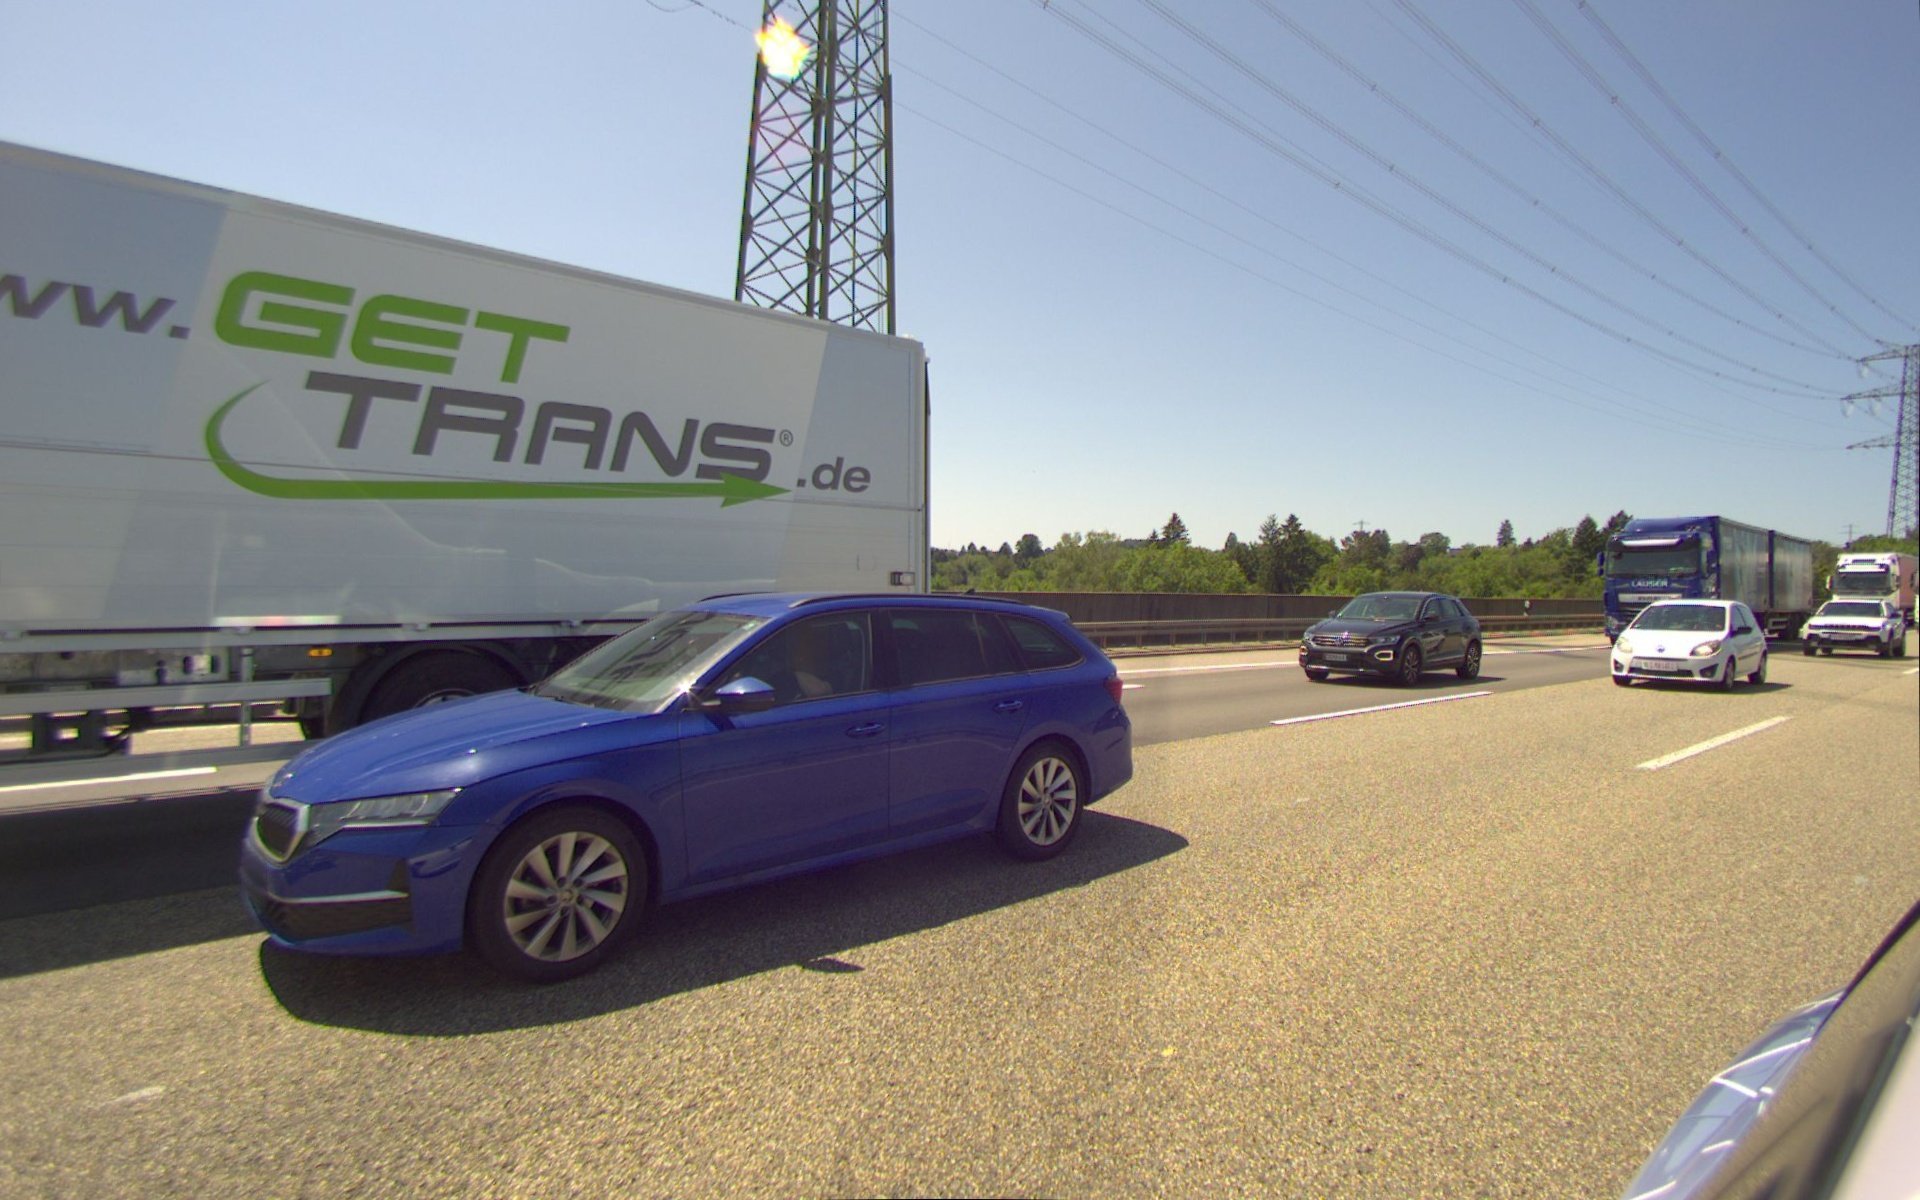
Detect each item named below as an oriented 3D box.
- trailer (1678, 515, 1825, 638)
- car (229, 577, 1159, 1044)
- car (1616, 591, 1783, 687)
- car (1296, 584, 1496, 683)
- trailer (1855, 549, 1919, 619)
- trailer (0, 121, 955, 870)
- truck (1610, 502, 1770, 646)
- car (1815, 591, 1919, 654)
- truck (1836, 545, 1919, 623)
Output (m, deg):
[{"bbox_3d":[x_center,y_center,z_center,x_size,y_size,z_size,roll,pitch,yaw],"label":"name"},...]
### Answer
[{"bbox_3d":[29.857,-0.838,37.929,10.699,4.044,2.540,-1,0,-42],"label":"trailer"},{"bbox_3d":[-1.006,0.643,5.282,4.422,1.458,1.712,0,1,-42],"label":"car"},{"bbox_3d":[12.732,0.592,17.369,3.566,1.458,1.582,0,0,-41],"label":"car"},{"bbox_3d":[7.612,0.507,17.533,3.821,1.524,1.708,0,0,-41],"label":"car"},{"bbox_3d":[55.420,-0.917,59.687,8.539,3.849,2.901,-1,0,-42],"label":"trailer"},{"bbox_3d":[-4.005,-0.515,7.427,8.149,3.640,2.848,0,0,-42],"label":"trailer"},{"bbox_3d":[23.011,-0.739,31.715,7.791,4.018,2.514,0,0,-42],"label":"truck"},{"bbox_3d":[24.256,0.562,27.016,3.688,1.554,1.720,0,0,-42],"label":"car"},{"bbox_3d":[49.749,-0.859,54.606,6.625,3.941,2.911,-1,0,-42],"label":"truck"}]
